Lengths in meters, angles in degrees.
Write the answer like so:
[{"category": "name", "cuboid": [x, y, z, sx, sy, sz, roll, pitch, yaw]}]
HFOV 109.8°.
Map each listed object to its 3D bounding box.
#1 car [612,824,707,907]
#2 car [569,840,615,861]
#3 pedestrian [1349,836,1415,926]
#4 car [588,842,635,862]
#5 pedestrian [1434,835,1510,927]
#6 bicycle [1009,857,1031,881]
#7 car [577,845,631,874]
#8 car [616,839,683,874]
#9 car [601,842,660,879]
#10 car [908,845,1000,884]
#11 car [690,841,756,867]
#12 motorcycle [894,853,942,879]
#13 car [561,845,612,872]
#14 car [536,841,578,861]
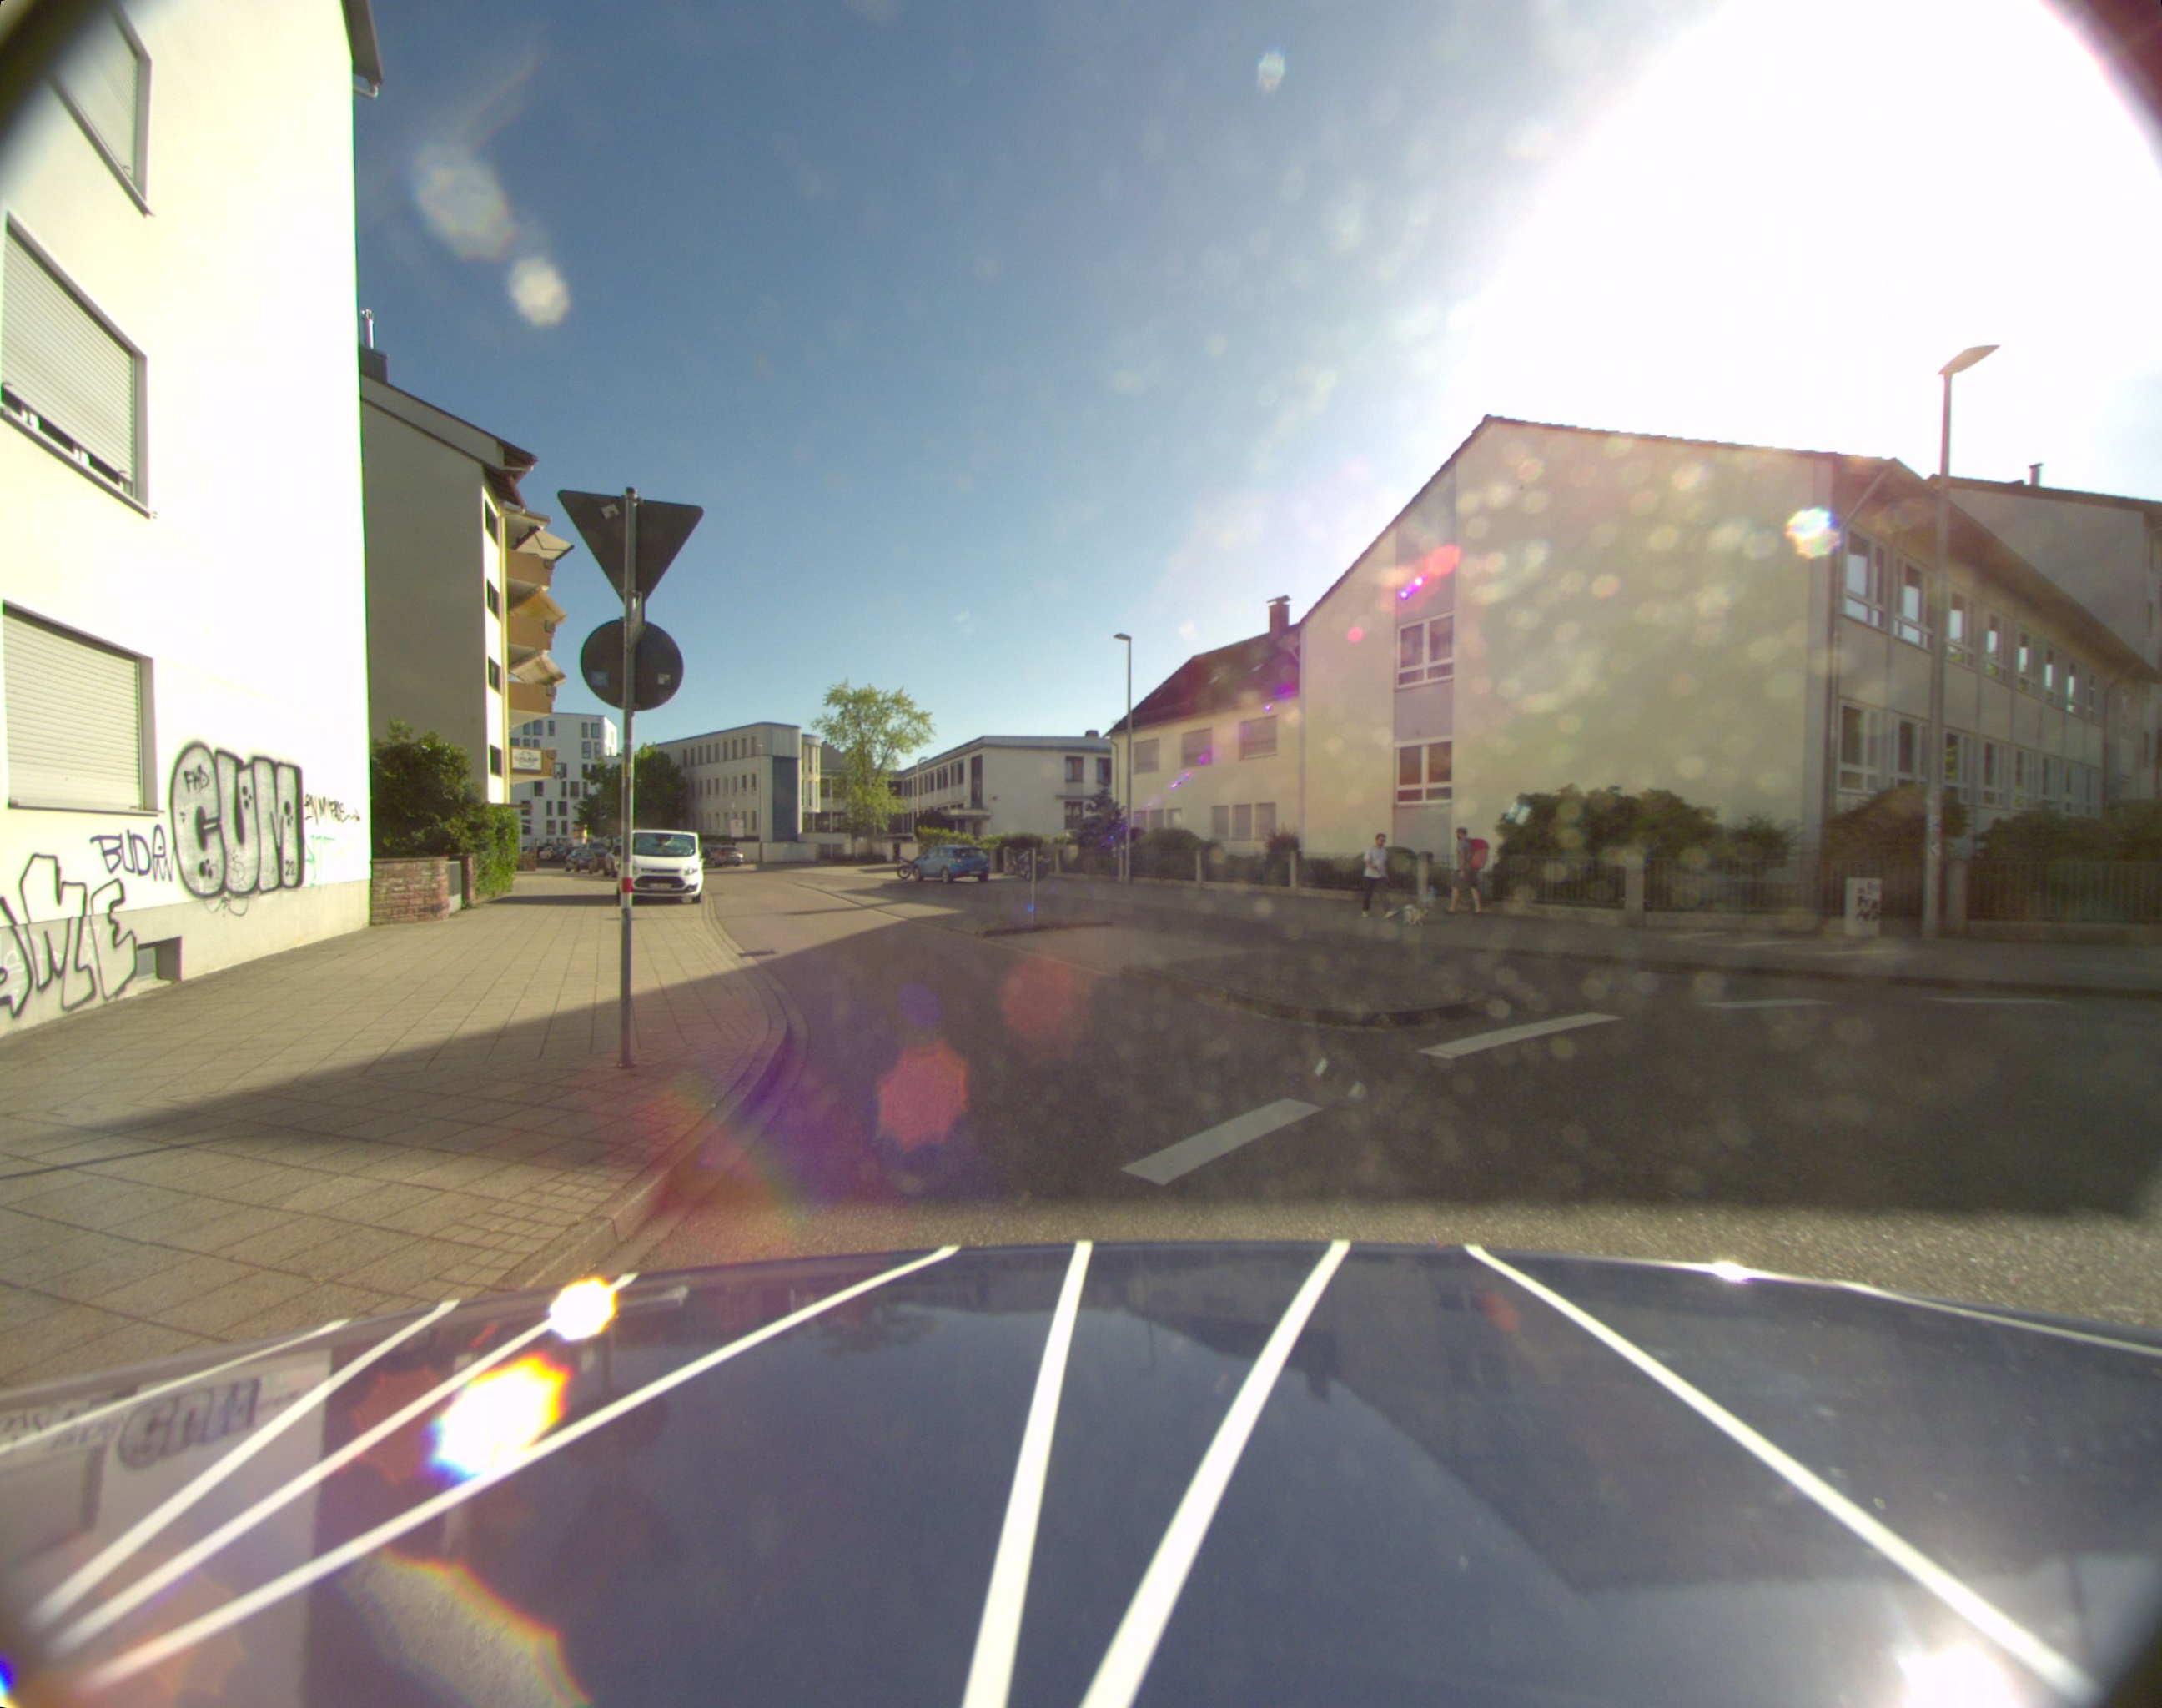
[{"category": "car", "cuboid": [-11.628, 0.279, 21.162, 2.003, 2.001, 4.785, 3, -1, -27]}, {"category": "car", "cuboid": [-44.642, -0.325, 69.385, 4.821, 1.800, 2.143, 1, 3, 40]}, {"category": "pedestrian", "cuboid": [5.886, 0.500, 14.874, 0.693, 1.696, 0.995, -2, 2, -25]}, {"category": "car", "cuboid": [-40.865, -0.183, 66.131, 4.448, 1.604, 2.143, 1, 3, 40]}, {"category": "pedestrian", "cuboid": [7.548, 0.489, 14.701, 0.820, 1.696, 0.995, -2, 2, -25]}, {"category": "bicycle", "cuboid": [-2.654, 0.633, 33.010, 0.346, 1.010, 1.260, 0, 1, -34]}, {"category": "car", "cuboid": [-26.452, 0.293, 42.101, 1.763, 1.445, 3.988, 4, -2, -43]}, {"category": "car", "cuboid": [-18.876, 0.086, 33.162, 1.763, 1.386, 3.988, 4, -2, -41]}, {"category": "car", "cuboid": [-21.827, 0.293, 36.748, 1.763, 1.632, 3.988, 4, -2, -40]}, {"category": "car", "cuboid": [-5.211, 0.368, 30.718, 1.889, 1.426, 4.402, -2, 2, -35]}, {"category": "car", "cuboid": [-24.619, -0.028, 52.176, 4.821, 1.604, 2.143, 1, 3, 39]}, {"category": "motorcycle", "cuboid": [-7.096, 0.514, 33.143, 1.963, 1.089, 0.590, -1, 1, -7]}, {"category": "car", "cuboid": [-29.547, 0.240, 45.361, 1.763, 1.445, 3.988, 4, -2, -44]}, {"category": "car", "cuboid": [-52.308, -0.331, 75.808, 4.821, 1.800, 2.143, 1, 3, 40]}]
